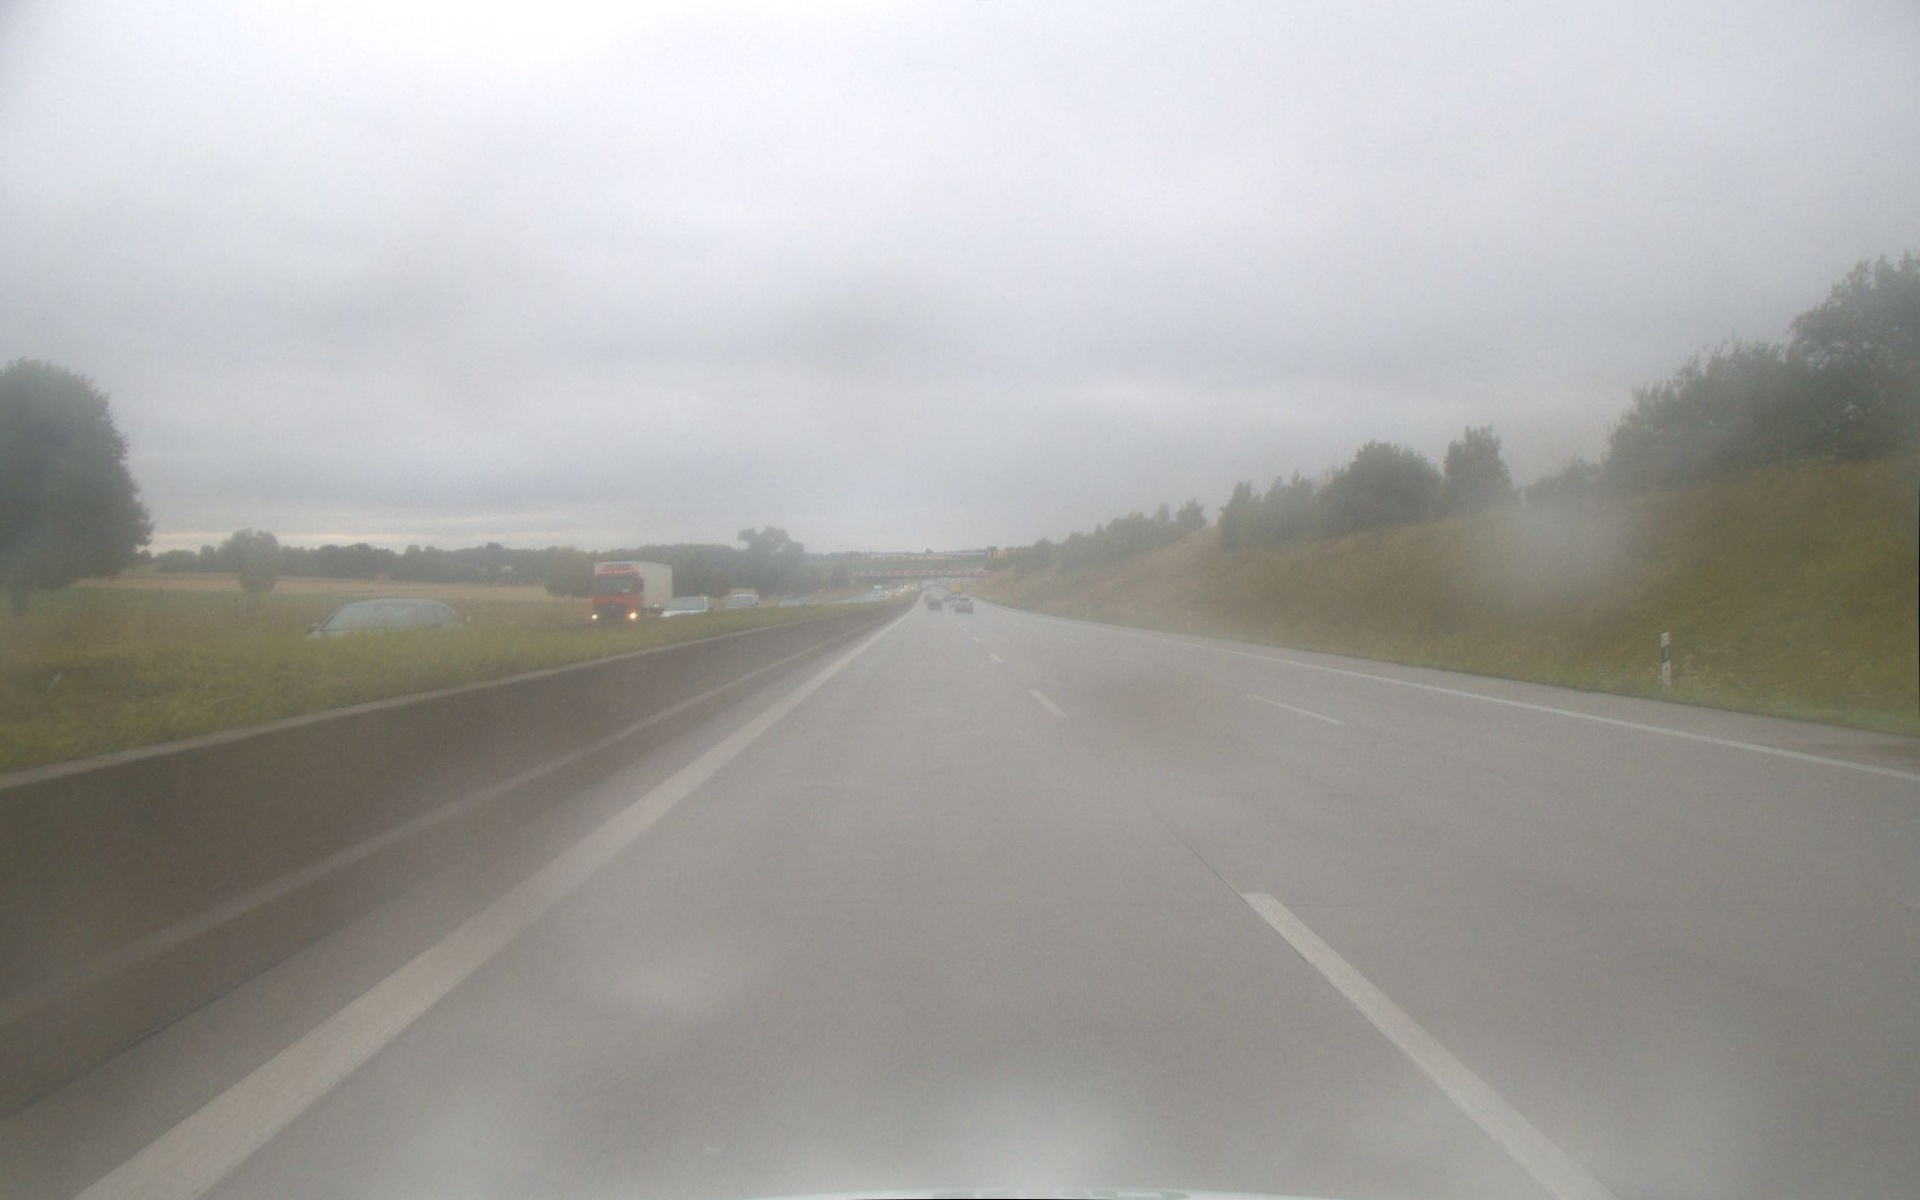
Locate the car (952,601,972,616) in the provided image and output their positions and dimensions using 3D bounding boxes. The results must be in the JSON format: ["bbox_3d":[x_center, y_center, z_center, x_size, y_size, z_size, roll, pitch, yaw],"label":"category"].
[{"bbox_3d":[0.161,0.884,166.625,1.810,1.354,4.428,0,2,-2],"label":"car"}]

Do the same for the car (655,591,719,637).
[{"bbox_3d":[-9.715,0.482,59.088,1.618,1.569,4.453,-1,0,-2],"label":"car"}]

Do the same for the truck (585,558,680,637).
[{"bbox_3d":[-17.479,-0.255,89.116,2.844,3.923,12.448,-1,1,-1],"label":"truck"}]

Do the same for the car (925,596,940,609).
[{"bbox_3d":[-3.087,0.272,186.414,1.694,1.354,4.430,1,2,-1],"label":"car"}]
